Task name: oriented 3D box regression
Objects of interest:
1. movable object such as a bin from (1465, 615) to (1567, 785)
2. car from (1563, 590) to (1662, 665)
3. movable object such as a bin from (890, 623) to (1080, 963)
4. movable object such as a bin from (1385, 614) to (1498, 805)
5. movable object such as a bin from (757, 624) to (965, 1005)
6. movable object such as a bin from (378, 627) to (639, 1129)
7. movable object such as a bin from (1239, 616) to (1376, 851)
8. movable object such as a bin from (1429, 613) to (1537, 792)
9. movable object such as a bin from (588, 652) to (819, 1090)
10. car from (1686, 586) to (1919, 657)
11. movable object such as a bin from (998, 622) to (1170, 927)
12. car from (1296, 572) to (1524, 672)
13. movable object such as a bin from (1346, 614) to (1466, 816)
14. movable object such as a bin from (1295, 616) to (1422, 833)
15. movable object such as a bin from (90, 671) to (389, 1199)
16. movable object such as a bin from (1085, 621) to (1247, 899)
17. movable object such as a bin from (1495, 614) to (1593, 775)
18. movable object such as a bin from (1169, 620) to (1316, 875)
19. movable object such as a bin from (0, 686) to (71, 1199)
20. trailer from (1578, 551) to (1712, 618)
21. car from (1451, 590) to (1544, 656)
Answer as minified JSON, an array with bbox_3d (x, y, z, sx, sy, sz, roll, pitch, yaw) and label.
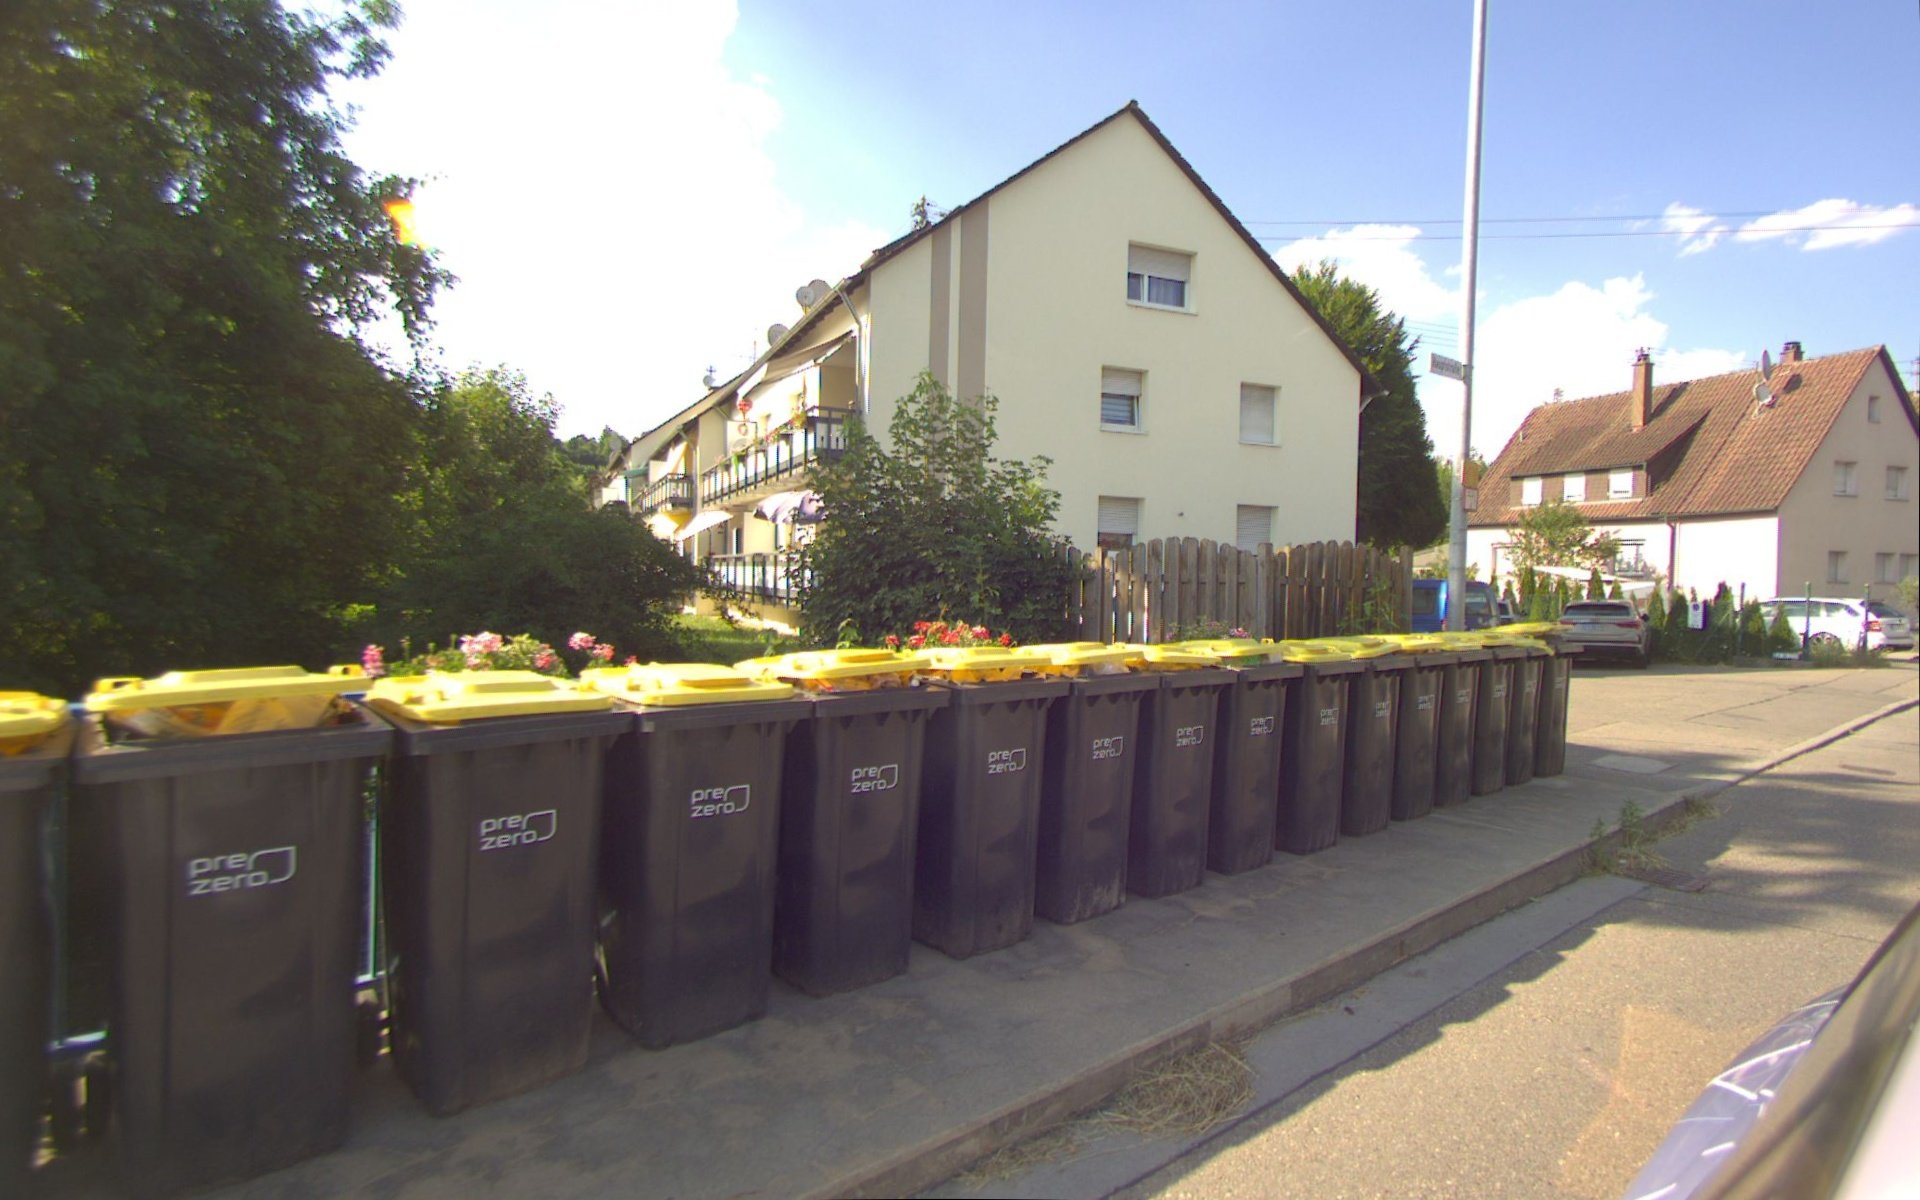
[{"bbox_3d":[4.080,0.705,7.432,0.529,1.157,0.479,0,2,-41],"label":"movable object such as a bin"},{"bbox_3d":[15.256,0.574,23.564,1.689,1.538,4.222,-2,0,36],"label":"car"},{"bbox_3d":[0.094,0.685,3.899,0.529,1.157,0.479,0,2,-41],"label":"movable object such as a bin"},{"bbox_3d":[3.166,0.689,6.660,0.529,1.157,0.479,0,2,-41],"label":"movable object such as a bin"},{"bbox_3d":[-0.348,0.681,3.525,0.529,1.157,0.479,0,2,-41],"label":"movable object such as a bin"},{"bbox_3d":[-1.234,0.673,2.760,0.529,1.157,0.479,0,2,-41],"label":"movable object such as a bin"},{"bbox_3d":[1.881,0.682,5.481,0.529,1.157,0.479,0,2,-41],"label":"movable object such as a bin"},{"bbox_3d":[3.657,0.687,7.079,0.533,1.157,0.479,0,2,-41],"label":"movable object such as a bin"},{"bbox_3d":[-0.802,0.768,3.150,0.529,1.157,0.479,0,2,-41],"label":"movable object such as a bin"},{"bbox_3d":[20.358,0.430,24.340,1.694,1.476,4.489,0,2,-21],"label":"car"},{"bbox_3d":[0.526,0.690,4.301,0.529,1.157,0.479,0,2,-41],"label":"movable object such as a bin"},{"bbox_3d":[9.017,0.336,20.687,1.730,1.809,4.223,0,2,-23],"label":"car"},{"bbox_3d":[2.765,0.679,6.279,0.529,1.157,0.479,0,2,-41],"label":"movable object such as a bin"},{"bbox_3d":[2.319,0.686,5.893,0.529,1.157,0.479,0,2,-41],"label":"movable object such as a bin"},{"bbox_3d":[-1.692,0.780,2.374,0.529,1.157,0.479,0,2,-41],"label":"movable object such as a bin"},{"bbox_3d":[0.957,0.694,4.703,0.555,1.157,0.479,0,2,-41],"label":"movable object such as a bin"},{"bbox_3d":[4.494,0.699,7.792,0.529,1.157,0.479,0,2,-41],"label":"movable object such as a bin"},{"bbox_3d":[1.414,0.696,5.077,0.529,1.157,0.479,0,2,-41],"label":"movable object such as a bin"},{"bbox_3d":[-2.091,0.787,1.973,0.529,1.157,0.479,0,2,-41],"label":"movable object such as a bin"},{"bbox_3d":[19.522,-0.435,28.856,3.149,1.774,1.529,1,1,-19],"label":"trailer"},{"bbox_3d":[14.257,0.549,26.752,1.754,1.564,3.631,0,1,35],"label":"car"}]
